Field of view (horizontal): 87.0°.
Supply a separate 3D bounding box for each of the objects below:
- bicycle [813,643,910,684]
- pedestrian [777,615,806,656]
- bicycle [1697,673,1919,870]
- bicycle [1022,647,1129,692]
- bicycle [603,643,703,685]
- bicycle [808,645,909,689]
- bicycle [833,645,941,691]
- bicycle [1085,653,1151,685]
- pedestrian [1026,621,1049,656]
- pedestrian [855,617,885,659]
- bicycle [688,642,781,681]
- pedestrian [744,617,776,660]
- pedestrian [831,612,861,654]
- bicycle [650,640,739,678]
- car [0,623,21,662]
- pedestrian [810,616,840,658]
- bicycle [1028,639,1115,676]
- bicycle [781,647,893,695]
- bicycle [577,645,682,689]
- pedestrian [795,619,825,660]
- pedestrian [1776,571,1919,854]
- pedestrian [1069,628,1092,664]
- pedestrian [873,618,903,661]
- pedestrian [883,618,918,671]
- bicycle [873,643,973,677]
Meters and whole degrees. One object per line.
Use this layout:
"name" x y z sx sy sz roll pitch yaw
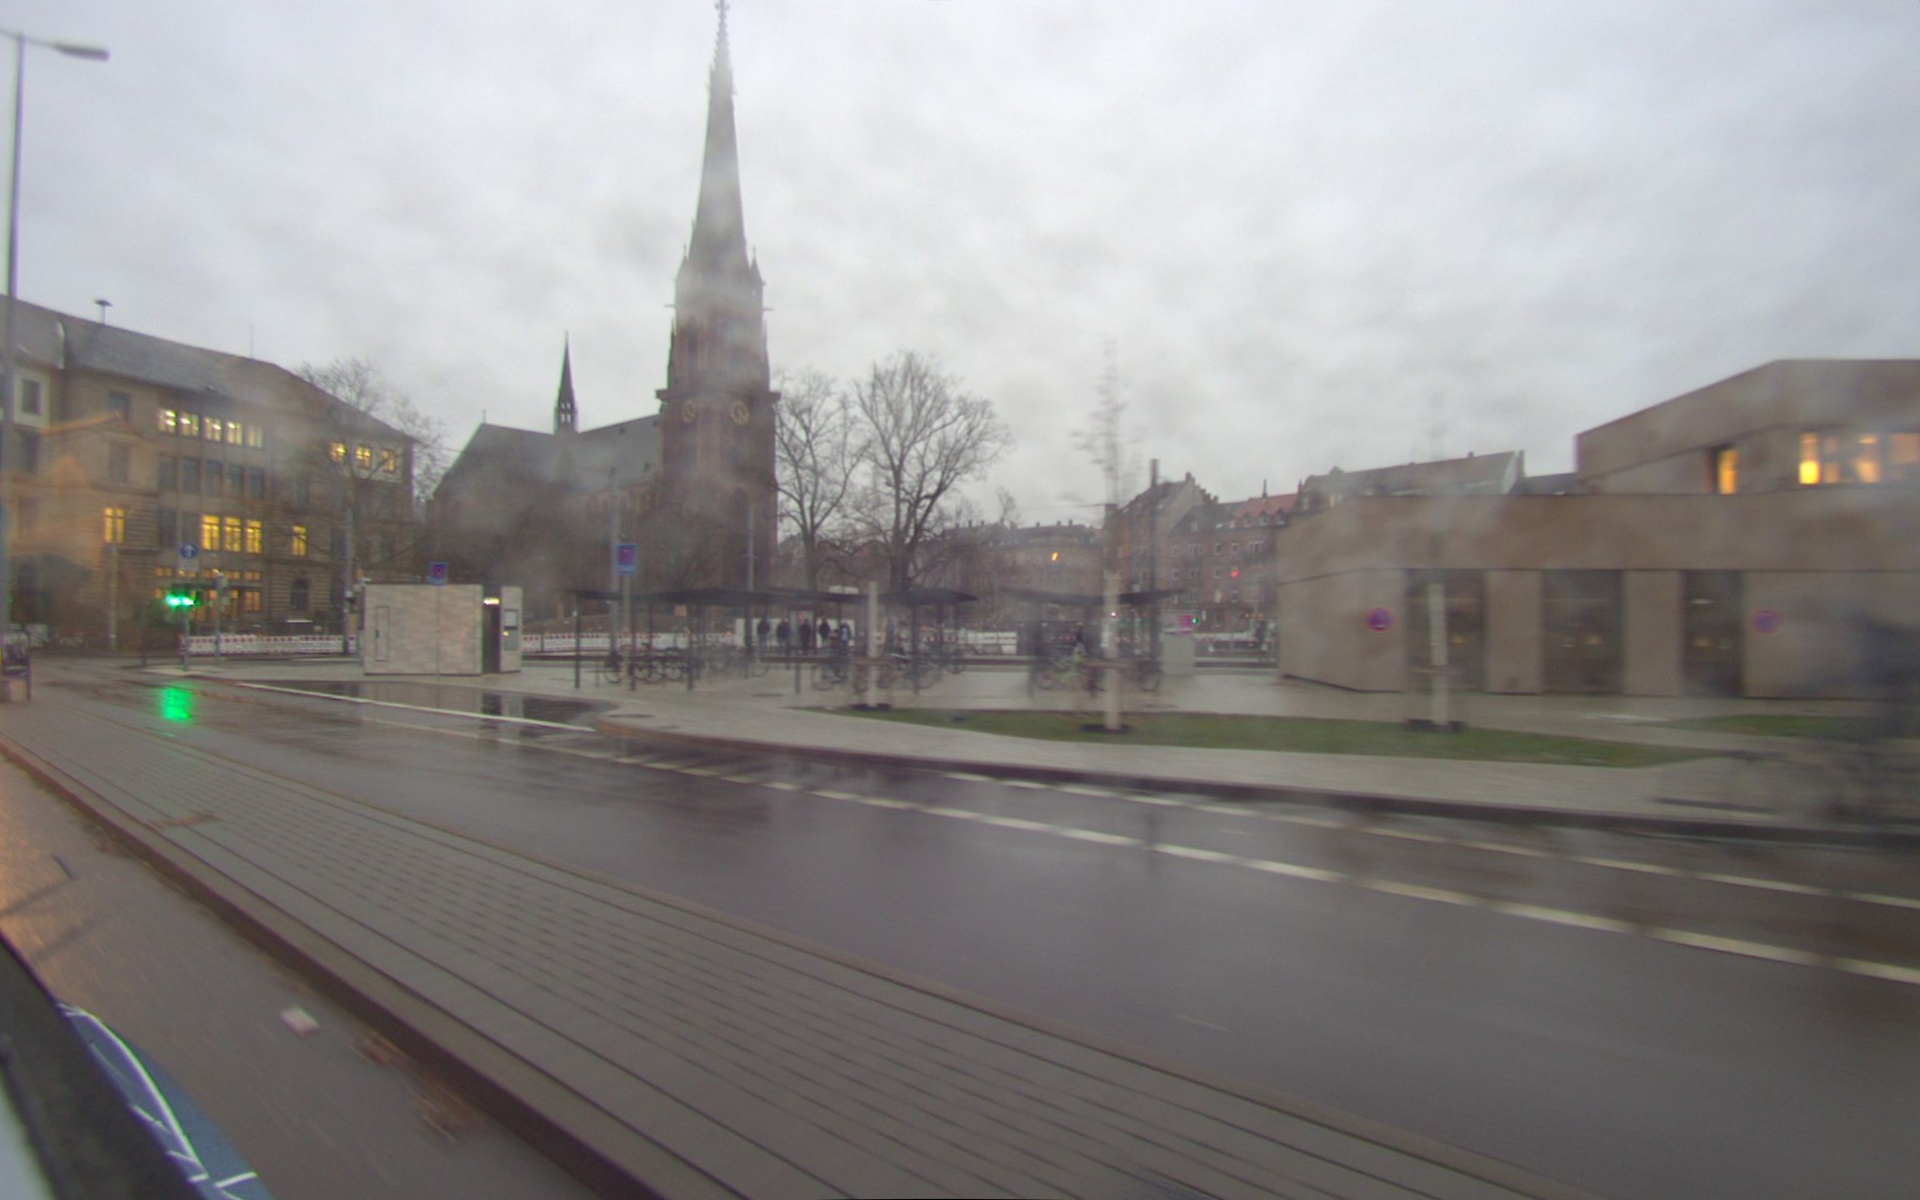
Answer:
"bicycle" -2.795 1.810 28.913 2.713 1.113 0.647 0 0 1
"pedestrian" -7.760 1.619 46.549 0.848 1.864 1.021 -2 -3 41
"bicycle" 6.029 1.098 6.621 1.865 1.185 0.618 -1 -4 30
"bicycle" 2.983 1.787 26.239 2.715 1.113 0.607 0 0 4
"bicycle" -8.683 1.801 28.639 2.720 1.113 0.645 -2 0 10
"bicycle" -2.802 1.847 28.131 2.713 1.113 0.647 -2 0 1
"bicycle" -1.903 1.770 26.411 2.721 1.113 0.645 -2 0 10
"bicycle" 4.562 1.988 29.259 1.841 0.878 0.605 0 -3 6
"pedestrian" 4.100 2.041 53.542 0.808 1.844 0.935 -2 -3 41
"pedestrian" -4.082 1.703 45.807 0.848 1.864 1.021 -2 0 41
"bicycle" -6.896 1.882 30.985 2.720 1.113 0.645 -2 0 10
"pedestrian" -9.055 1.736 45.800 0.848 1.863 1.036 -2 2 41
"pedestrian" -5.215 1.503 46.435 0.848 1.864 1.021 -2 0 41
"bicycle" -8.509 1.899 32.448 2.718 1.113 0.645 -2 0 7
"car" -40.831 1.785 42.569 4.000 1.607 1.655 -2 -2 43
"pedestrian" -6.095 1.690 45.646 0.802 1.864 1.021 -2 -3 41
"bicycle" 3.562 1.845 32.381 2.720 1.113 0.645 -2 0 10
"bicycle" -3.088 1.788 25.419 2.721 1.113 0.645 -2 0 10
"bicycle" -8.962 1.809 27.483 2.720 1.113 0.645 -2 0 10
"pedestrian" -6.855 1.804 46.210 0.848 1.864 1.021 -2 -3 41
"pedestrian" 6.065 0.712 6.620 0.978 1.747 0.710 -1 -4 30
"pedestrian" 6.208 2.347 51.984 0.808 1.844 0.935 -2 -3 41
"pedestrian" -3.220 1.740 45.155 0.848 1.864 1.021 -2 0 41
"pedestrian" -2.038 1.504 34.656 0.848 1.693 0.805 1 3 41
"bicycle" -1.180 1.910 32.584 3.155 1.058 0.793 0 -2 6
